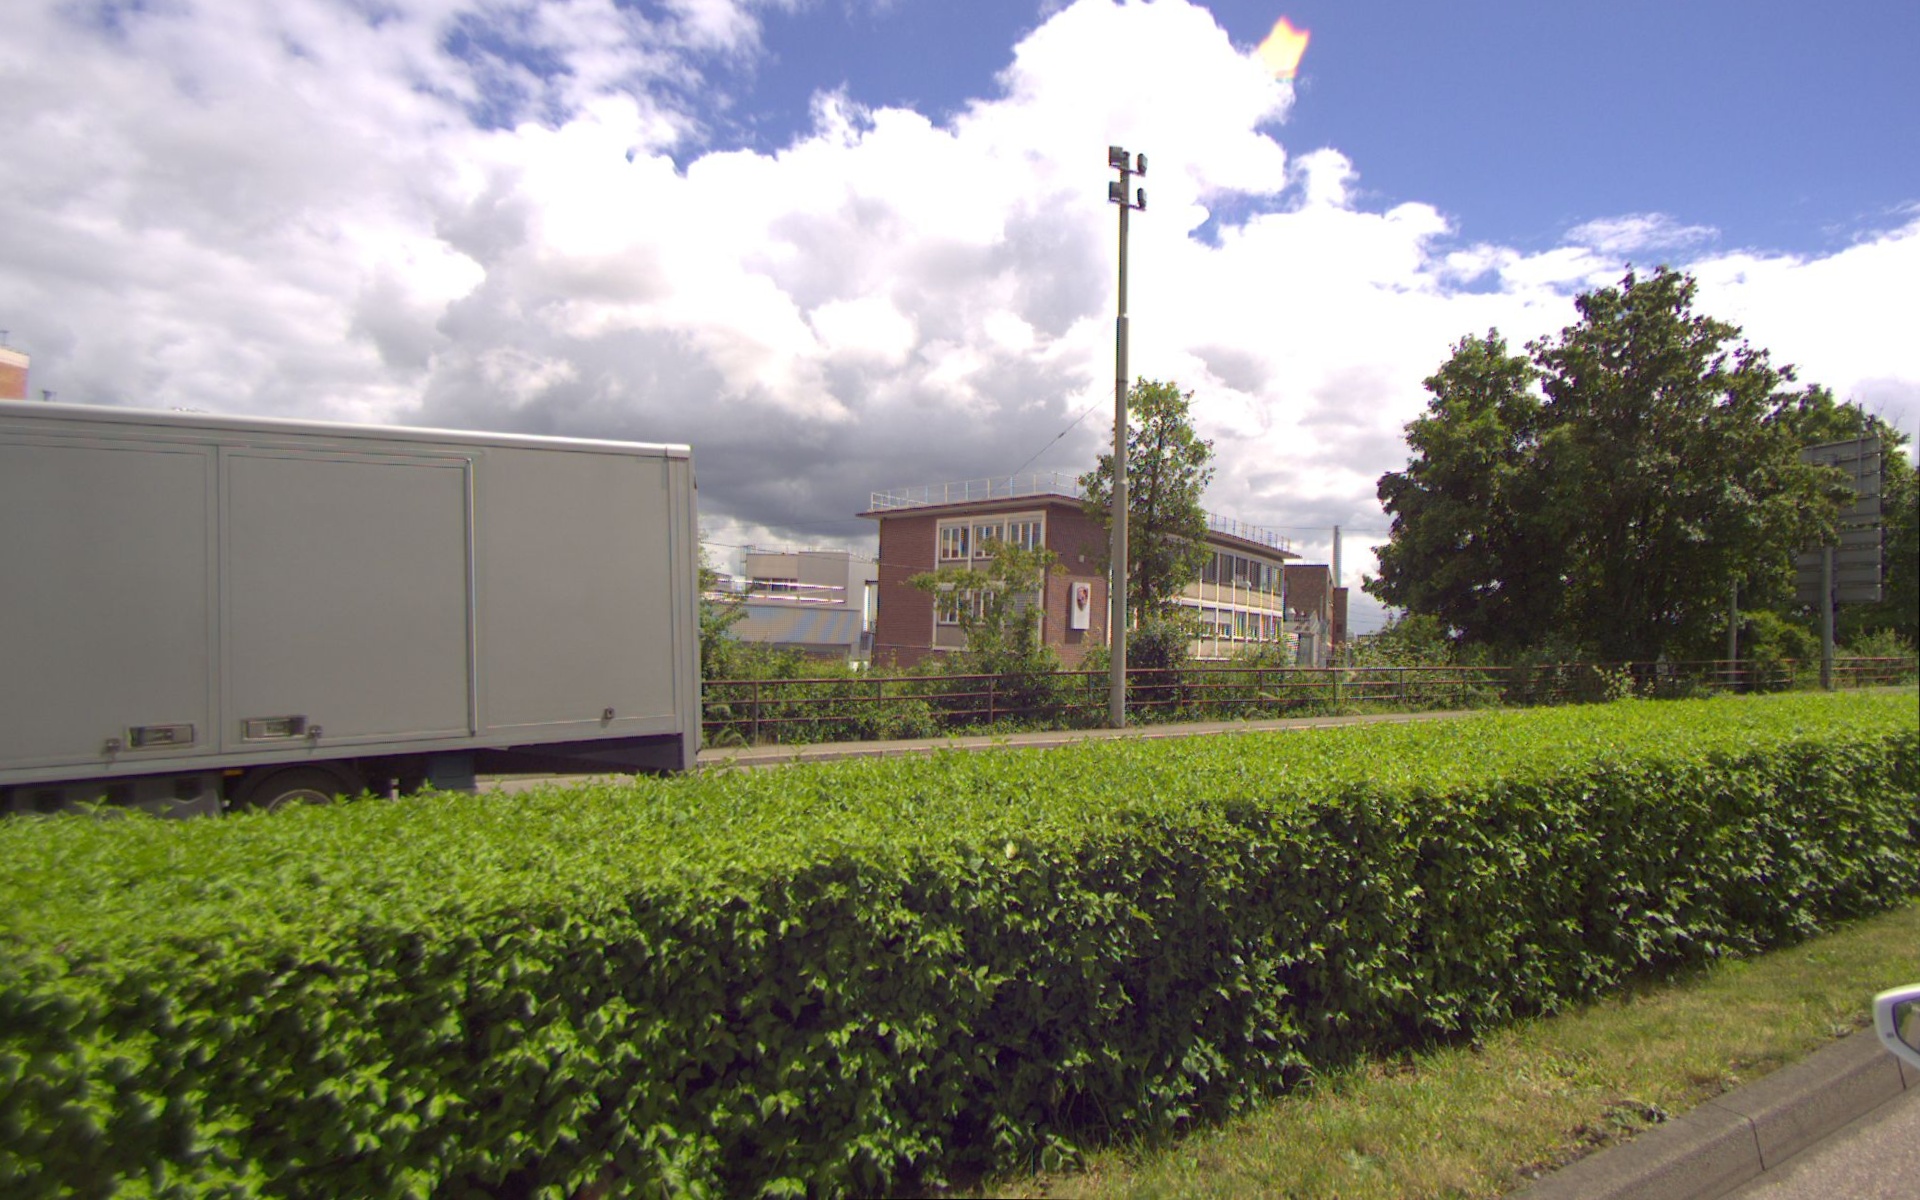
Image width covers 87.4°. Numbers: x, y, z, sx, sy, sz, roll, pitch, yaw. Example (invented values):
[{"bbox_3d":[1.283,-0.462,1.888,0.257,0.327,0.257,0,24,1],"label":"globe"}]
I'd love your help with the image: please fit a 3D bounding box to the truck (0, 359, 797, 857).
[{"bbox_3d":[-6.066,0.068,7.203,9.262,2.895,2.843,-1,-1,-30],"label":"truck"}]
